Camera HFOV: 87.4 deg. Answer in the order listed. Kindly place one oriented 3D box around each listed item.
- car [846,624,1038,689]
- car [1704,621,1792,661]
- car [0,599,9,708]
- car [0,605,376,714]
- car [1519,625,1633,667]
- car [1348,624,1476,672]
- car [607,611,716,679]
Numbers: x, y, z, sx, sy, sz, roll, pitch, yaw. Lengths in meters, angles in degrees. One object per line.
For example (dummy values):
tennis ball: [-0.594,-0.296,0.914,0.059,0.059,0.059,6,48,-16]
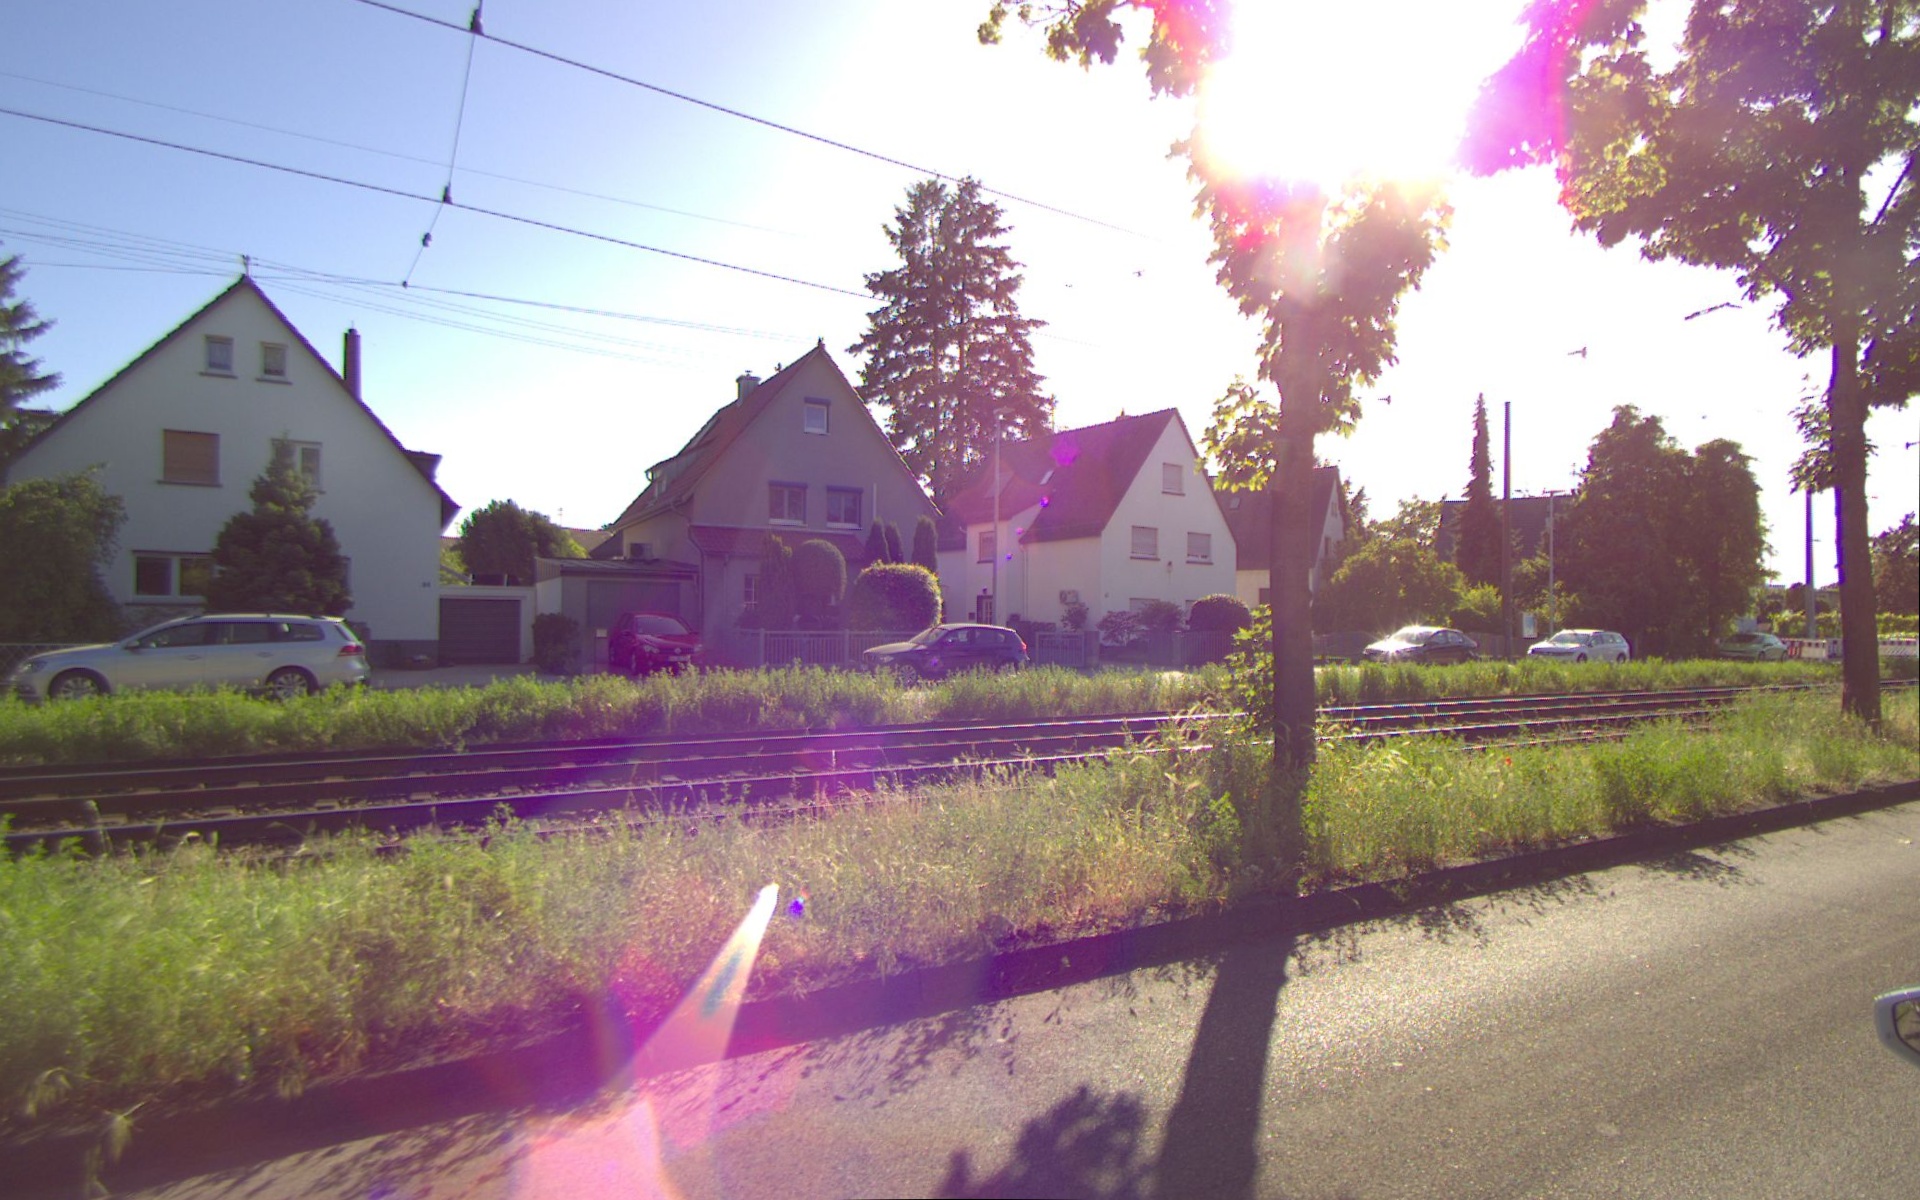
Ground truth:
car: [-0.416,1.308,23.883,4.173,1.388,1.853,1,0,-27]
car: [36.079,1.873,45.982,4.179,1.730,1.769,1,0,-31]
car: [-16.522,0.786,13.937,4.503,1.673,1.739,1,0,-31]
car: [-12.487,0.928,16.715,4.724,1.566,1.984,1,0,-30]
car: [23.412,1.723,38.146,4.410,1.450,1.850,1,0,-31]
car: [14.887,1.542,33.046,4.110,1.432,1.850,1,0,-31]
car: [-7.740,1.092,25.847,1.866,1.472,3.899,0,1,-30]
